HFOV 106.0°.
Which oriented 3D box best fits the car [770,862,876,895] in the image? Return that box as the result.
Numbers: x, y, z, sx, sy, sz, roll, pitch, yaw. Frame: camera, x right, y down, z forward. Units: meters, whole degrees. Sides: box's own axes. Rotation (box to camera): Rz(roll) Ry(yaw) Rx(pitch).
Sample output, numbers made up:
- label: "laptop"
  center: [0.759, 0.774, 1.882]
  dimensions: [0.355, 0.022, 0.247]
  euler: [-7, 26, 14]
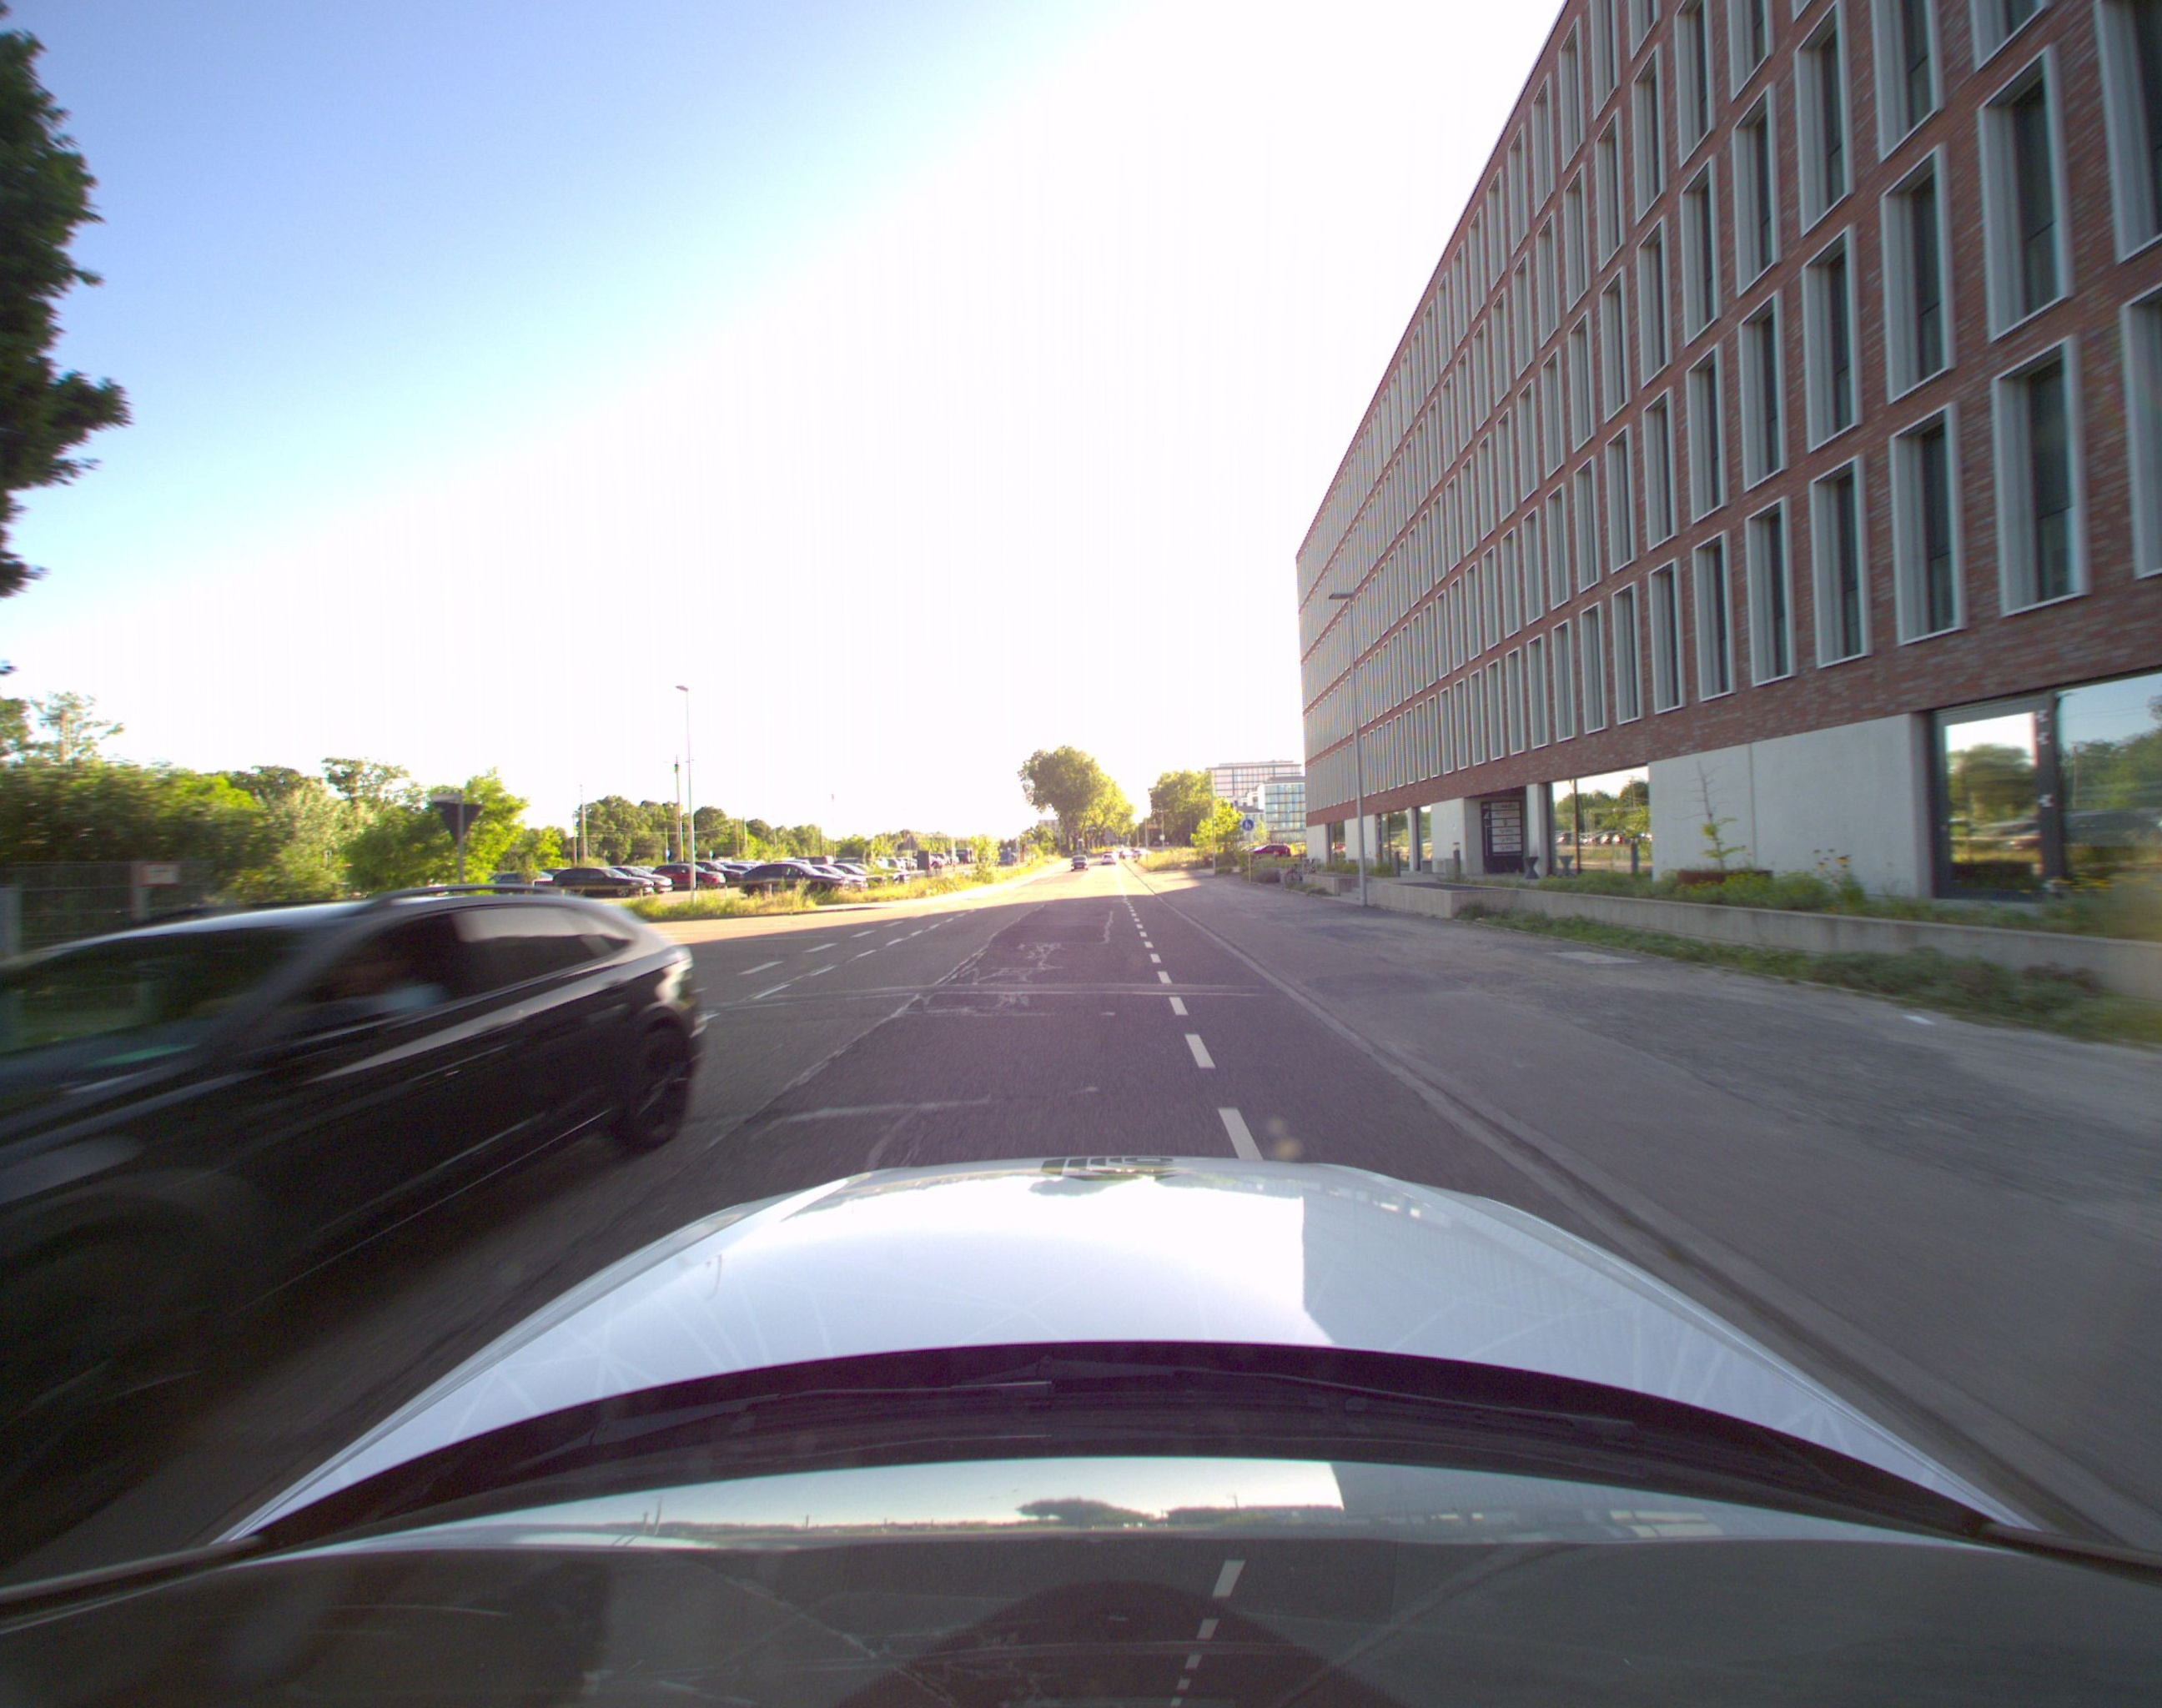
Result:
- label: "car"
  center: [-12.426, 1.185, 39.382]
  dimensions: [4.410, 1.462, 2.050]
  euler: [-1, 0, 3]

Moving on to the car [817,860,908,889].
- label: "car"
  center: [-12.060, 1.113, 45.208]
  dimensions: [4.410, 1.462, 2.050]
  euler: [-1, 0, 3]

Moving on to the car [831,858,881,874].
- label: "car"
  center: [-22.186, 1.152, 80.350]
  dimensions: [4.304, 1.523, 1.879]
  euler: [0, 0, 2]

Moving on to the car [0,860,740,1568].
- label: "car"
  center: [-3.237, 0.869, 3.346]
  dimensions: [1.734, 1.526, 4.112]
  euler: [-5, 0, 1]

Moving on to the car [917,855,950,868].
- label: "car"
  center: [-21.268, 1.033, 117.415]
  dimensions: [4.306, 1.791, 1.879]
  euler: [0, 0, 1]

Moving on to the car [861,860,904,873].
- label: "car"
  center: [-22.078, 1.382, 90.855]
  dimensions: [4.306, 1.419, 1.879]
  euler: [0, 0, 1]

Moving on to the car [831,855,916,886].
- label: "car"
  center: [-12.223, 0.963, 48.190]
  dimensions: [4.410, 1.670, 2.050]
  euler: [-1, 0, 3]

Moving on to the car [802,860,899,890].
- label: "car"
  center: [-12.005, 1.066, 42.615]
  dimensions: [4.410, 1.462, 2.050]
  euler: [-1, 0, 3]

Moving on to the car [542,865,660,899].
- label: "car"
  center: [-23.011, 1.325, 39.194]
  dimensions: [4.391, 1.465, 2.047]
  euler: [-1, 0, -2]

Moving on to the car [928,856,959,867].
- label: "car"
  center: [-20.758, 1.125, 122.667]
  dimensions: [4.306, 1.618, 1.879]
  euler: [0, 0, 1]

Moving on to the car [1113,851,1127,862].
- label: "car"
  center: [6.371, 0.372, 133.379]
  dimensions: [2.154, 1.684, 4.005]
  euler: [-2, 0, 4]

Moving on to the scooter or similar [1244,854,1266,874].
- label: "scooter or similar"
  center: [10.360, 0.600, 48.544]
  dimensions: [1.236, 1.156, 0.366]
  euler: [-2, 0, 6]

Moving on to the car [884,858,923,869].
- label: "car"
  center: [-21.531, 1.154, 99.024]
  dimensions: [4.306, 1.376, 1.879]
  euler: [0, 0, 1]

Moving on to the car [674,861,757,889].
- label: "car"
  center: [-22.500, 1.259, 50.189]
  dimensions: [4.149, 1.578, 2.047]
  euler: [-1, 0, -2]

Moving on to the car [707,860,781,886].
- label: "car"
  center: [-22.699, 1.262, 54.950]
  dimensions: [4.148, 1.662, 1.965]
  euler: [-1, 0, -1]

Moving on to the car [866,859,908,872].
- label: "car"
  center: [-22.321, 1.282, 93.739]
  dimensions: [4.306, 1.419, 1.879]
  euler: [0, 0, 1]

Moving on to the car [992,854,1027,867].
- label: "car"
  center: [-10.239, 0.923, 116.756]
  dimensions: [4.828, 1.835, 2.000]
  euler: [0, 0, 1]

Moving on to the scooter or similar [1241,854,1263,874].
- label: "scooter or similar"
  center: [10.516, 0.626, 50.053]
  dimensions: [1.236, 1.195, 0.341]
  euler: [-2, 0, 6]

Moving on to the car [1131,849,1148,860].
- label: "car"
  center: [10.009, 0.110, 138.968]
  dimensions: [2.148, 1.684, 4.015]
  euler: [-1, -1, 15]

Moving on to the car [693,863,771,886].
- label: "car"
  center: [-22.499, 1.302, 52.634]
  dimensions: [4.149, 1.397, 2.047]
  euler: [-1, 0, -2]

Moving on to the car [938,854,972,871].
- label: "car"
  center: [-20.084, 1.355, 130.265]
  dimensions: [4.909, 2.460, 2.320]
  euler: [-2, 0, 1]

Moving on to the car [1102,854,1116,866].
- label: "car"
  center: [3.572, 0.755, 104.550]
  dimensions: [1.783, 1.420, 4.002]
  euler: [0, 0, 2]

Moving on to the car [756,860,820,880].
- label: "car"
  center: [-23.222, 1.254, 64.671]
  dimensions: [4.349, 1.545, 1.858]
  euler: [0, 0, 2]

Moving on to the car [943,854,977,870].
- label: "car"
  center: [-19.764, 1.297, 132.945]
  dimensions: [5.078, 2.459, 2.320]
  euler: [0, 0, 1]

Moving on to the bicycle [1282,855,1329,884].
- label: "bicycle"
  center: [9.753, 0.650, 35.351]
  dimensions: [1.928, 1.170, 0.374]
  euler: [-2, -1, -5]

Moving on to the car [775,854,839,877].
- label: "car"
  center: [-22.530, 0.922, 67.038]
  dimensions: [4.558, 1.805, 1.858]
  euler: [0, 0, 2]

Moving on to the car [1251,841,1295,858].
- label: "car"
  center: [19.486, -0.441, 82.894]
  dimensions: [4.164, 1.581, 1.854]
  euler: [-1, -4, 5]

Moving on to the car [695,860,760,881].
- label: "car"
  center: [-28.001, 1.286, 64.566]
  dimensions: [4.349, 1.545, 1.858]
  euler: [0, 0, 2]

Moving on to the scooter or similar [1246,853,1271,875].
- label: "scooter or similar"
  center: [10.261, 0.573, 46.988]
  dimensions: [1.333, 1.245, 0.424]
  euler: [-2, 0, 6]

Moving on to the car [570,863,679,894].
- label: "car"
  center: [-23.419, 1.261, 41.937]
  dimensions: [4.391, 1.465, 2.047]
  euler: [-1, 0, -2]

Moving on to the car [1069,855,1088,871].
- label: "car"
  center: [-0.233, 0.914, 81.492]
  dimensions: [1.647, 1.503, 4.003]
  euler: [-2, -1, 3]

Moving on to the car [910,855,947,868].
- label: "car"
  center: [-20.903, 1.026, 111.702]
  dimensions: [4.558, 1.741, 2.061]
  euler: [0, 0, 5]

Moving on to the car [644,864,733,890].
- label: "car"
  center: [-22.794, 1.326, 47.388]
  dimensions: [4.149, 1.397, 2.047]
  euler: [-1, 0, -2]

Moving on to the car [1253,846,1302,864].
- label: "car"
  center: [18.287, 0.078, 75.950]
  dimensions: [4.164, 1.580, 1.854]
  euler: [-1, 0, 5]

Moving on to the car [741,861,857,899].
- label: "car"
  center: [-12.557, 1.134, 36.478]
  dimensions: [4.410, 1.581, 2.050]
  euler: [-1, 0, 3]

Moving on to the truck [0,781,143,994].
- label: "truck"
  center: [-23.322, 0.616, 14.458]
  dimensions: [10.063, 3.615, 2.776]
  euler: [0, -1, 0]

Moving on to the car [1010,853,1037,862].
- label: "car"
  center: [-9.793, 0.635, 139.256]
  dimensions: [4.410, 1.557, 1.879]
  euler: [0, 0, 1]
